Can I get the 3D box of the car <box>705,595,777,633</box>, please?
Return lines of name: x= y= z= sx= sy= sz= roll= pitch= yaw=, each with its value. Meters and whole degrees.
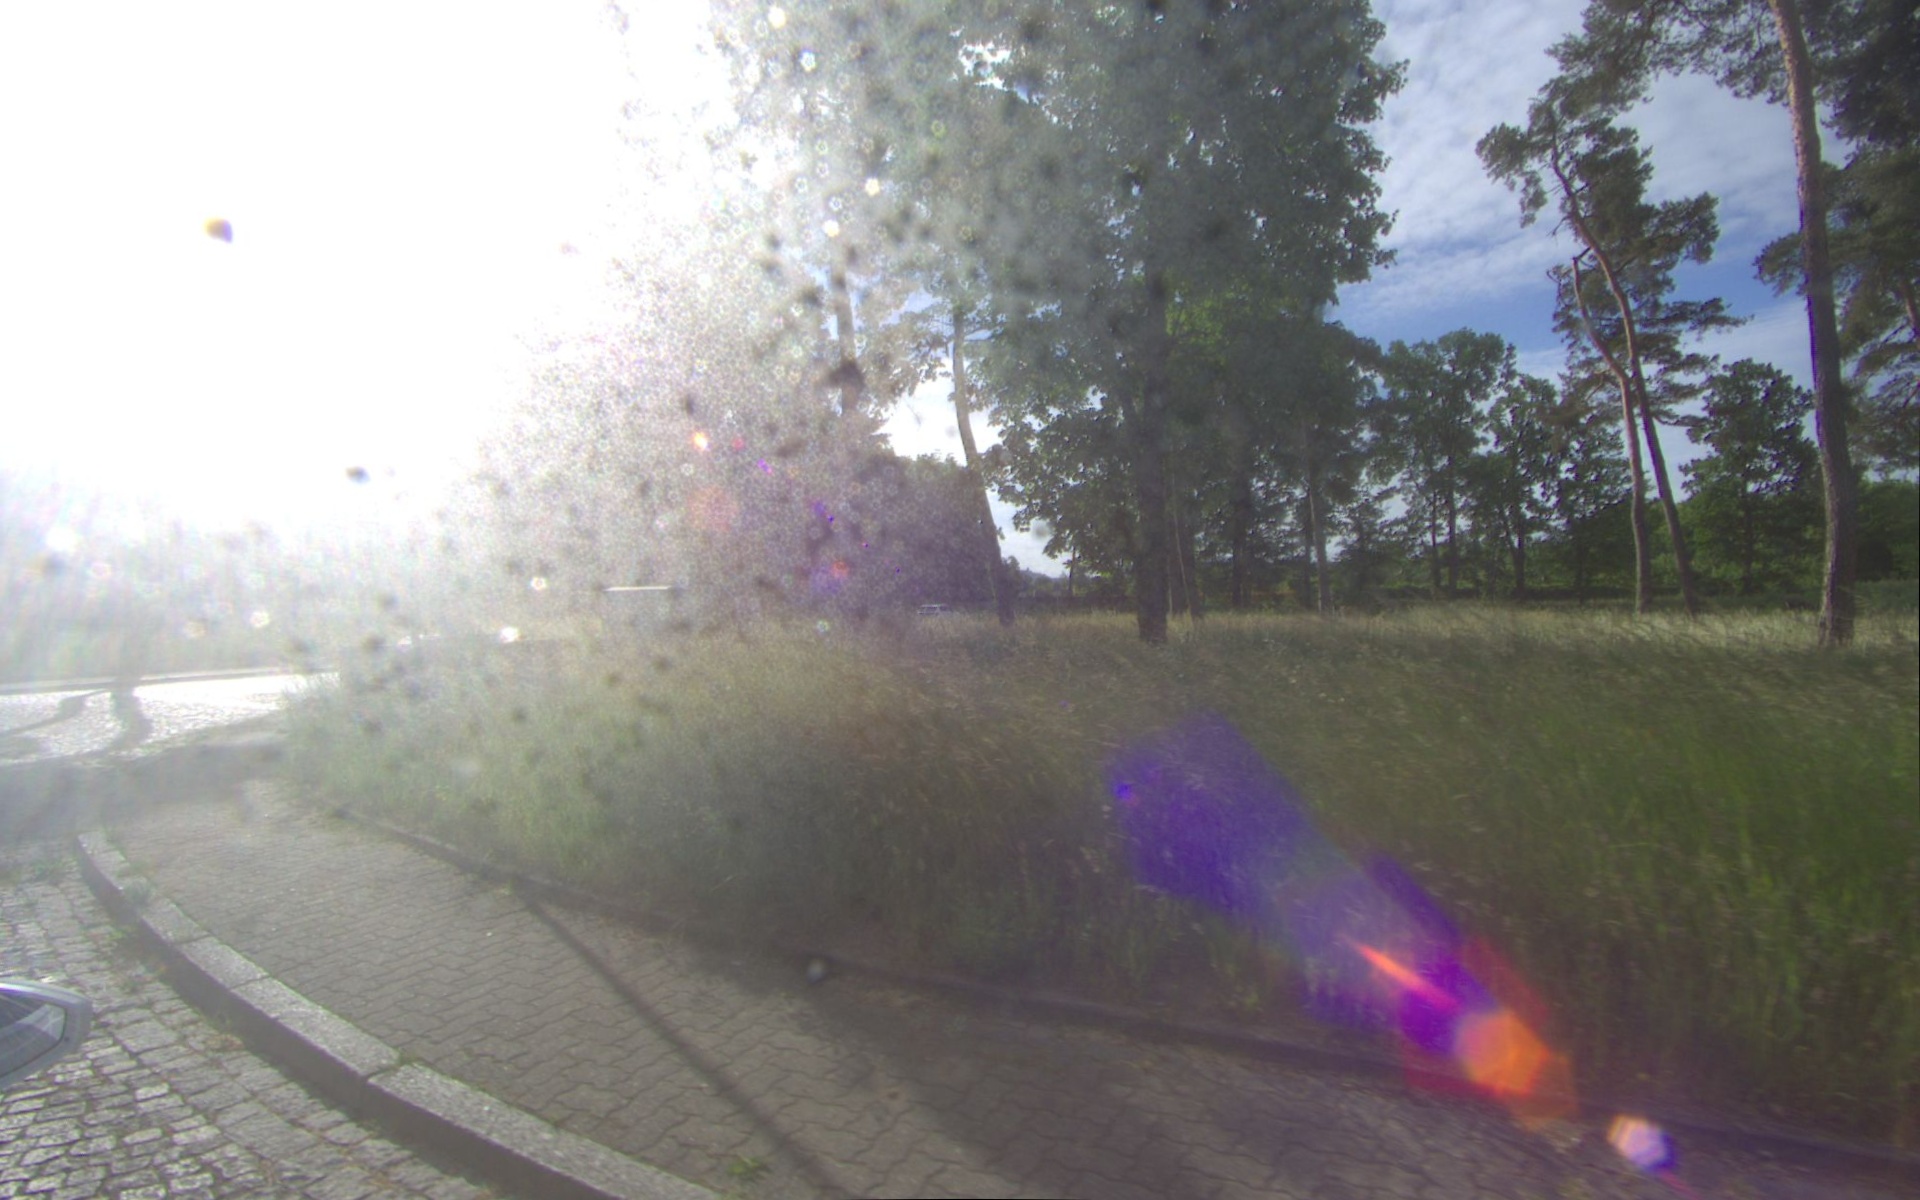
car: x=-15.640 y=0.998 z=71.845 sx=2.230 sy=2.569 sz=5.153 roll=-1 pitch=-1 yaw=29

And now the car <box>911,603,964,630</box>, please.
car: x=-1.409 y=1.060 z=64.842 sx=1.827 sy=1.701 sz=3.931 roll=-1 pitch=-1 yaw=26
